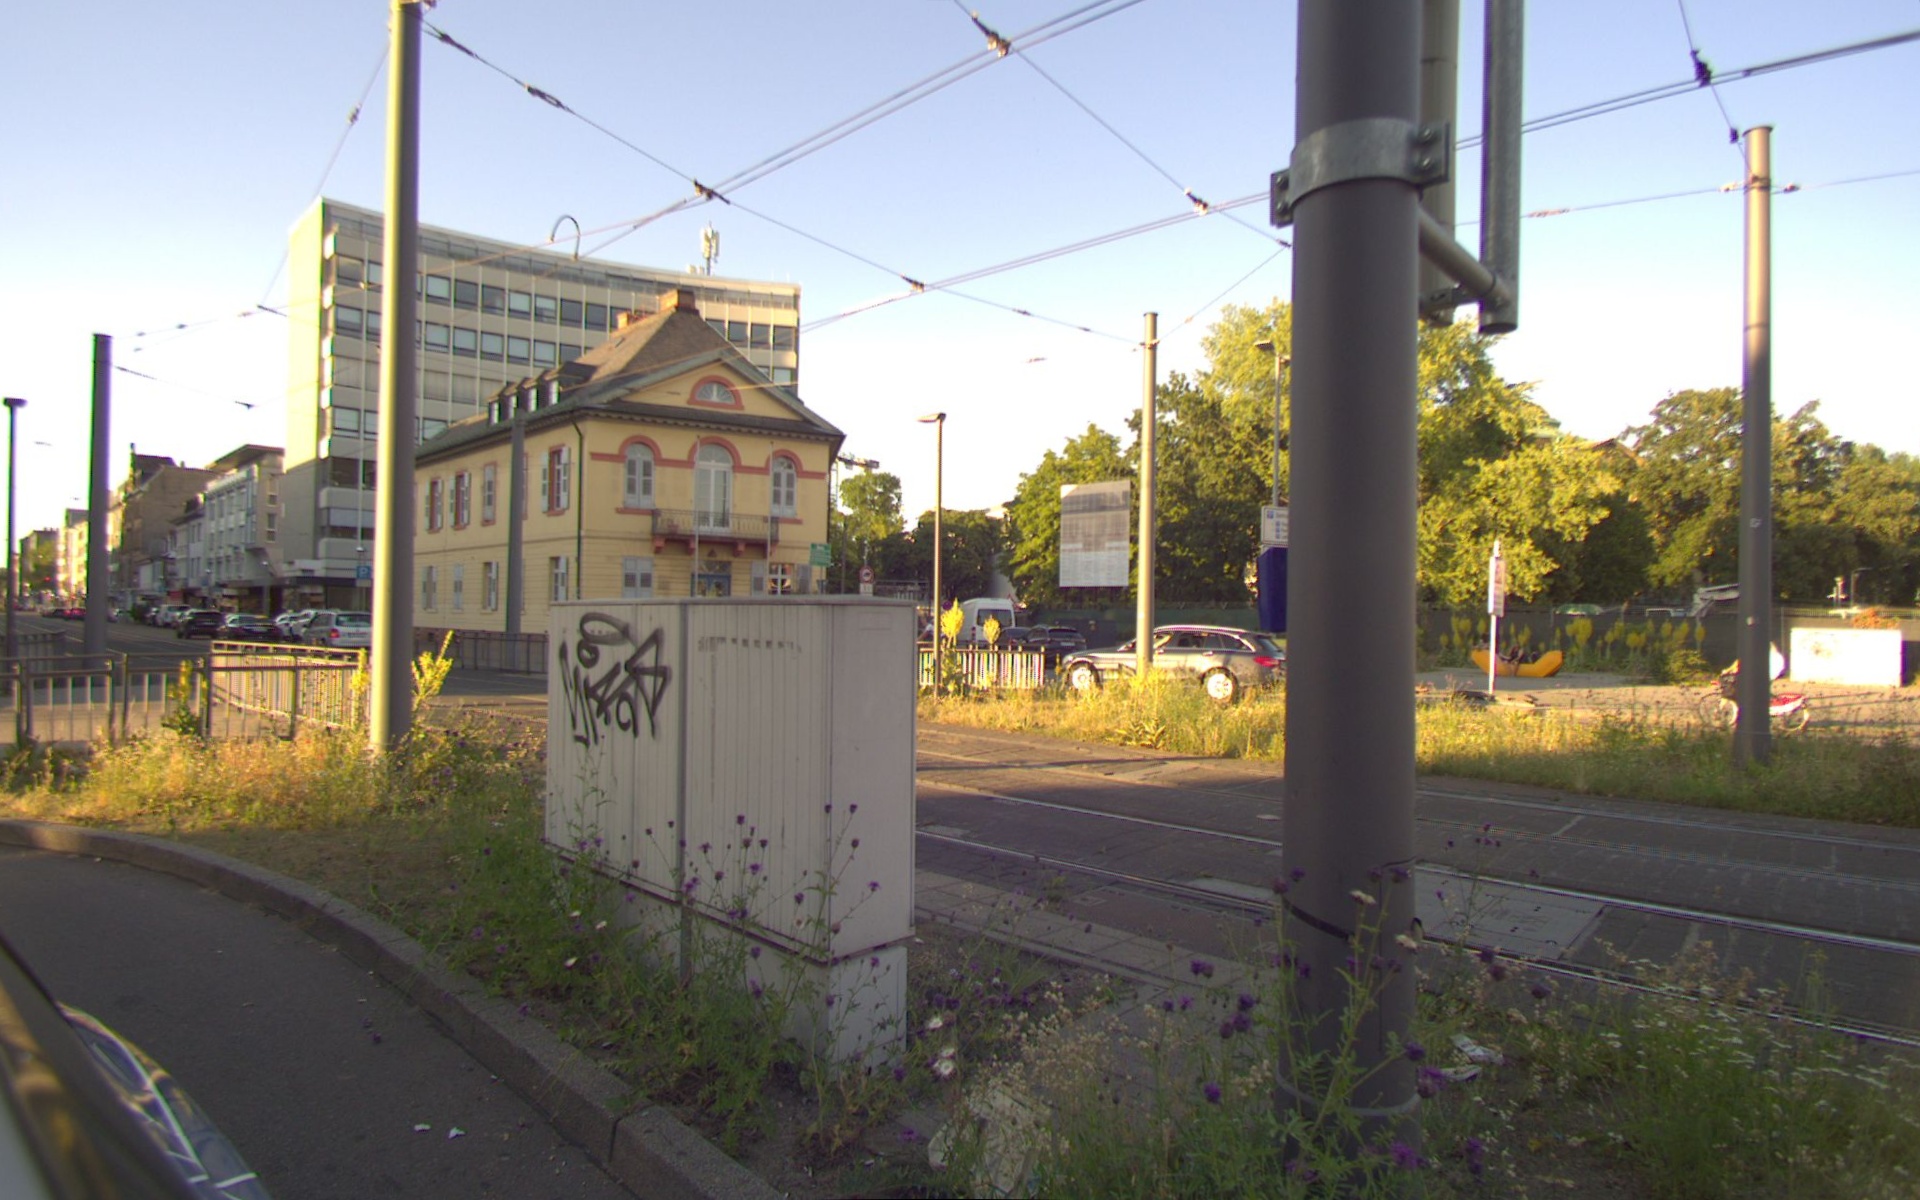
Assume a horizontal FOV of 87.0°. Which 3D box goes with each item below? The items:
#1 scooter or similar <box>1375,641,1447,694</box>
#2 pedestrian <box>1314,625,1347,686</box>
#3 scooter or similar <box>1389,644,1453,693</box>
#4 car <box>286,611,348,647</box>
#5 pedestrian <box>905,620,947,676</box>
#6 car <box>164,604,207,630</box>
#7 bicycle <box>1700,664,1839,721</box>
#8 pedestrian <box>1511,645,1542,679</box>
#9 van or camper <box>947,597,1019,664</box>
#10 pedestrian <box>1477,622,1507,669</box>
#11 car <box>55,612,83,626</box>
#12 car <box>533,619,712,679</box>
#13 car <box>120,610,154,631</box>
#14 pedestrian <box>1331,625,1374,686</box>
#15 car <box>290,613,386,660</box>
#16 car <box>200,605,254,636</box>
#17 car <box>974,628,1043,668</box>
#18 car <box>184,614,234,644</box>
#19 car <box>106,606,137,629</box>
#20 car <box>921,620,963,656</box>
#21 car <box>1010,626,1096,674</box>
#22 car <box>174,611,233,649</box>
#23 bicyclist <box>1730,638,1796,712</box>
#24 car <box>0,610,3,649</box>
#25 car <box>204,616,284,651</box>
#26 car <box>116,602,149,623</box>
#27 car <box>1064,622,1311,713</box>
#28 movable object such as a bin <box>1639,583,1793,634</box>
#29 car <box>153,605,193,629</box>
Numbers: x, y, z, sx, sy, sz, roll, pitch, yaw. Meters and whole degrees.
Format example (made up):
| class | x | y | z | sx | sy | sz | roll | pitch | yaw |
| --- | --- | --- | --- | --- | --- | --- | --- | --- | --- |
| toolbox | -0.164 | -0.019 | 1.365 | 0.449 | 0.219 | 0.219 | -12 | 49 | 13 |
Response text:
| class | x | y | z | sx | sy | sz | roll | pitch | yaw |
| --- | --- | --- | --- | --- | --- | --- | --- | --- | --- |
| scooter or similar | 11.417 | 1.705 | 25.626 | 1.628 | 1.302 | 0.461 | 1 | -2 | -3 |
| pedestrian | 10.141 | 1.518 | 27.707 | 0.679 | 1.625 | 0.597 | 2 | -2 | -40 |
| scooter or similar | 11.453 | 1.688 | 25.149 | 1.383 | 1.175 | 0.461 | 1 | -2 | -3 |
| car | -32.059 | 1.418 | 50.458 | 3.806 | 1.721 | 1.712 | -1 | -2 | 44 |
| pedestrian | -0.930 | 1.302 | 27.726 | 1.028 | 1.514 | 1.006 | 1 | -2 | -8 |
| car | -61.364 | 1.327 | 80.161 | 3.999 | 1.962 | 1.972 | 0 | -2 | 42 |
| bicycle | 14.328 | 1.621 | 17.961 | 1.784 | 0.899 | 0.676 | 0 | -2 | 21 |
| pedestrian | 20.285 | 2.202 | 36.234 | 0.975 | 1.166 | 0.736 | 3 | -3 | -43 |
| van or camper | 0.963 | 1.415 | 46.177 | 2.050 | 2.796 | 6.462 | 2 | -2 | -9 |
| pedestrian | 19.696 | 1.680 | 37.457 | 0.810 | 1.678 | 0.765 | 2 | -2 | -43 |
| car | -101.201 | 2.187 | 114.949 | 3.998 | 1.519 | 1.824 | 0 | -2 | 41 |
| car | -8.915 | 1.252 | 26.752 | 4.310 | 1.421 | 1.901 | 0 | -2 | 23 |
| car | -80.593 | 2.001 | 99.140 | 3.999 | 1.962 | 1.972 | -1 | -2 | 42 |
| pedestrian | 11.479 | 1.621 | 29.616 | 0.865 | 1.737 | 0.831 | 2 | -2 | -7 |
| car | -22.566 | 1.305 | 36.667 | 4.069 | 1.610 | 1.815 | -1 | -2 | 41 |
| car | -47.047 | 1.331 | 64.941 | 3.999 | 1.915 | 1.972 | 0 | -2 | 42 |
| car | 1.865 | 1.869 | 40.263 | 1.706 | 1.440 | 4.484 | 2 | -2 | -11 |
| car | -51.058 | 1.977 | 68.802 | 3.999 | 1.962 | 1.972 | -1 | -2 | 42 |
| car | -90.052 | 1.879 | 108.673 | 3.999 | 2.394 | 1.972 | 0 | -2 | 42 |
| car | -1.037 | 2.093 | 56.020 | 1.690 | 1.863 | 4.030 | 2 | -2 | -10 |
| car | 3.193 | 1.710 | 35.698 | 1.754 | 1.555 | 4.301 | 2 | -2 | -12 |
| car | -42.115 | 1.659 | 56.310 | 4.120 | 2.005 | 1.971 | -1 | -2 | 44 |
| bicyclist | 14.257 | 1.322 | 17.987 | 0.724 | 1.267 | 0.663 | 0 | -2 | 21 |
| car | -39.082 | 1.101 | 39.536 | 1.967 | 1.586 | 4.311 | 2 | -5 | -37 |
| car | -31.346 | 1.434 | 44.235 | 4.657 | 1.439 | 1.990 | 0 | -2 | 44 |
| car | -84.793 | 1.280 | 103.725 | 3.998 | 2.029 | 1.973 | 0 | 1 | 41 |
| car | 4.471 | 1.247 | 20.089 | 4.402 | 1.528 | 1.977 | 0 | 0 | 34 |
| movable object such as a bin | 32.239 | 0.385 | 43.362 | 1.966 | 2.029 | 5.040 | 1 | -2 | -18 |
| car | -66.434 | 1.449 | 85.364 | 3.999 | 1.962 | 1.972 | 0 | -2 | 42 |
